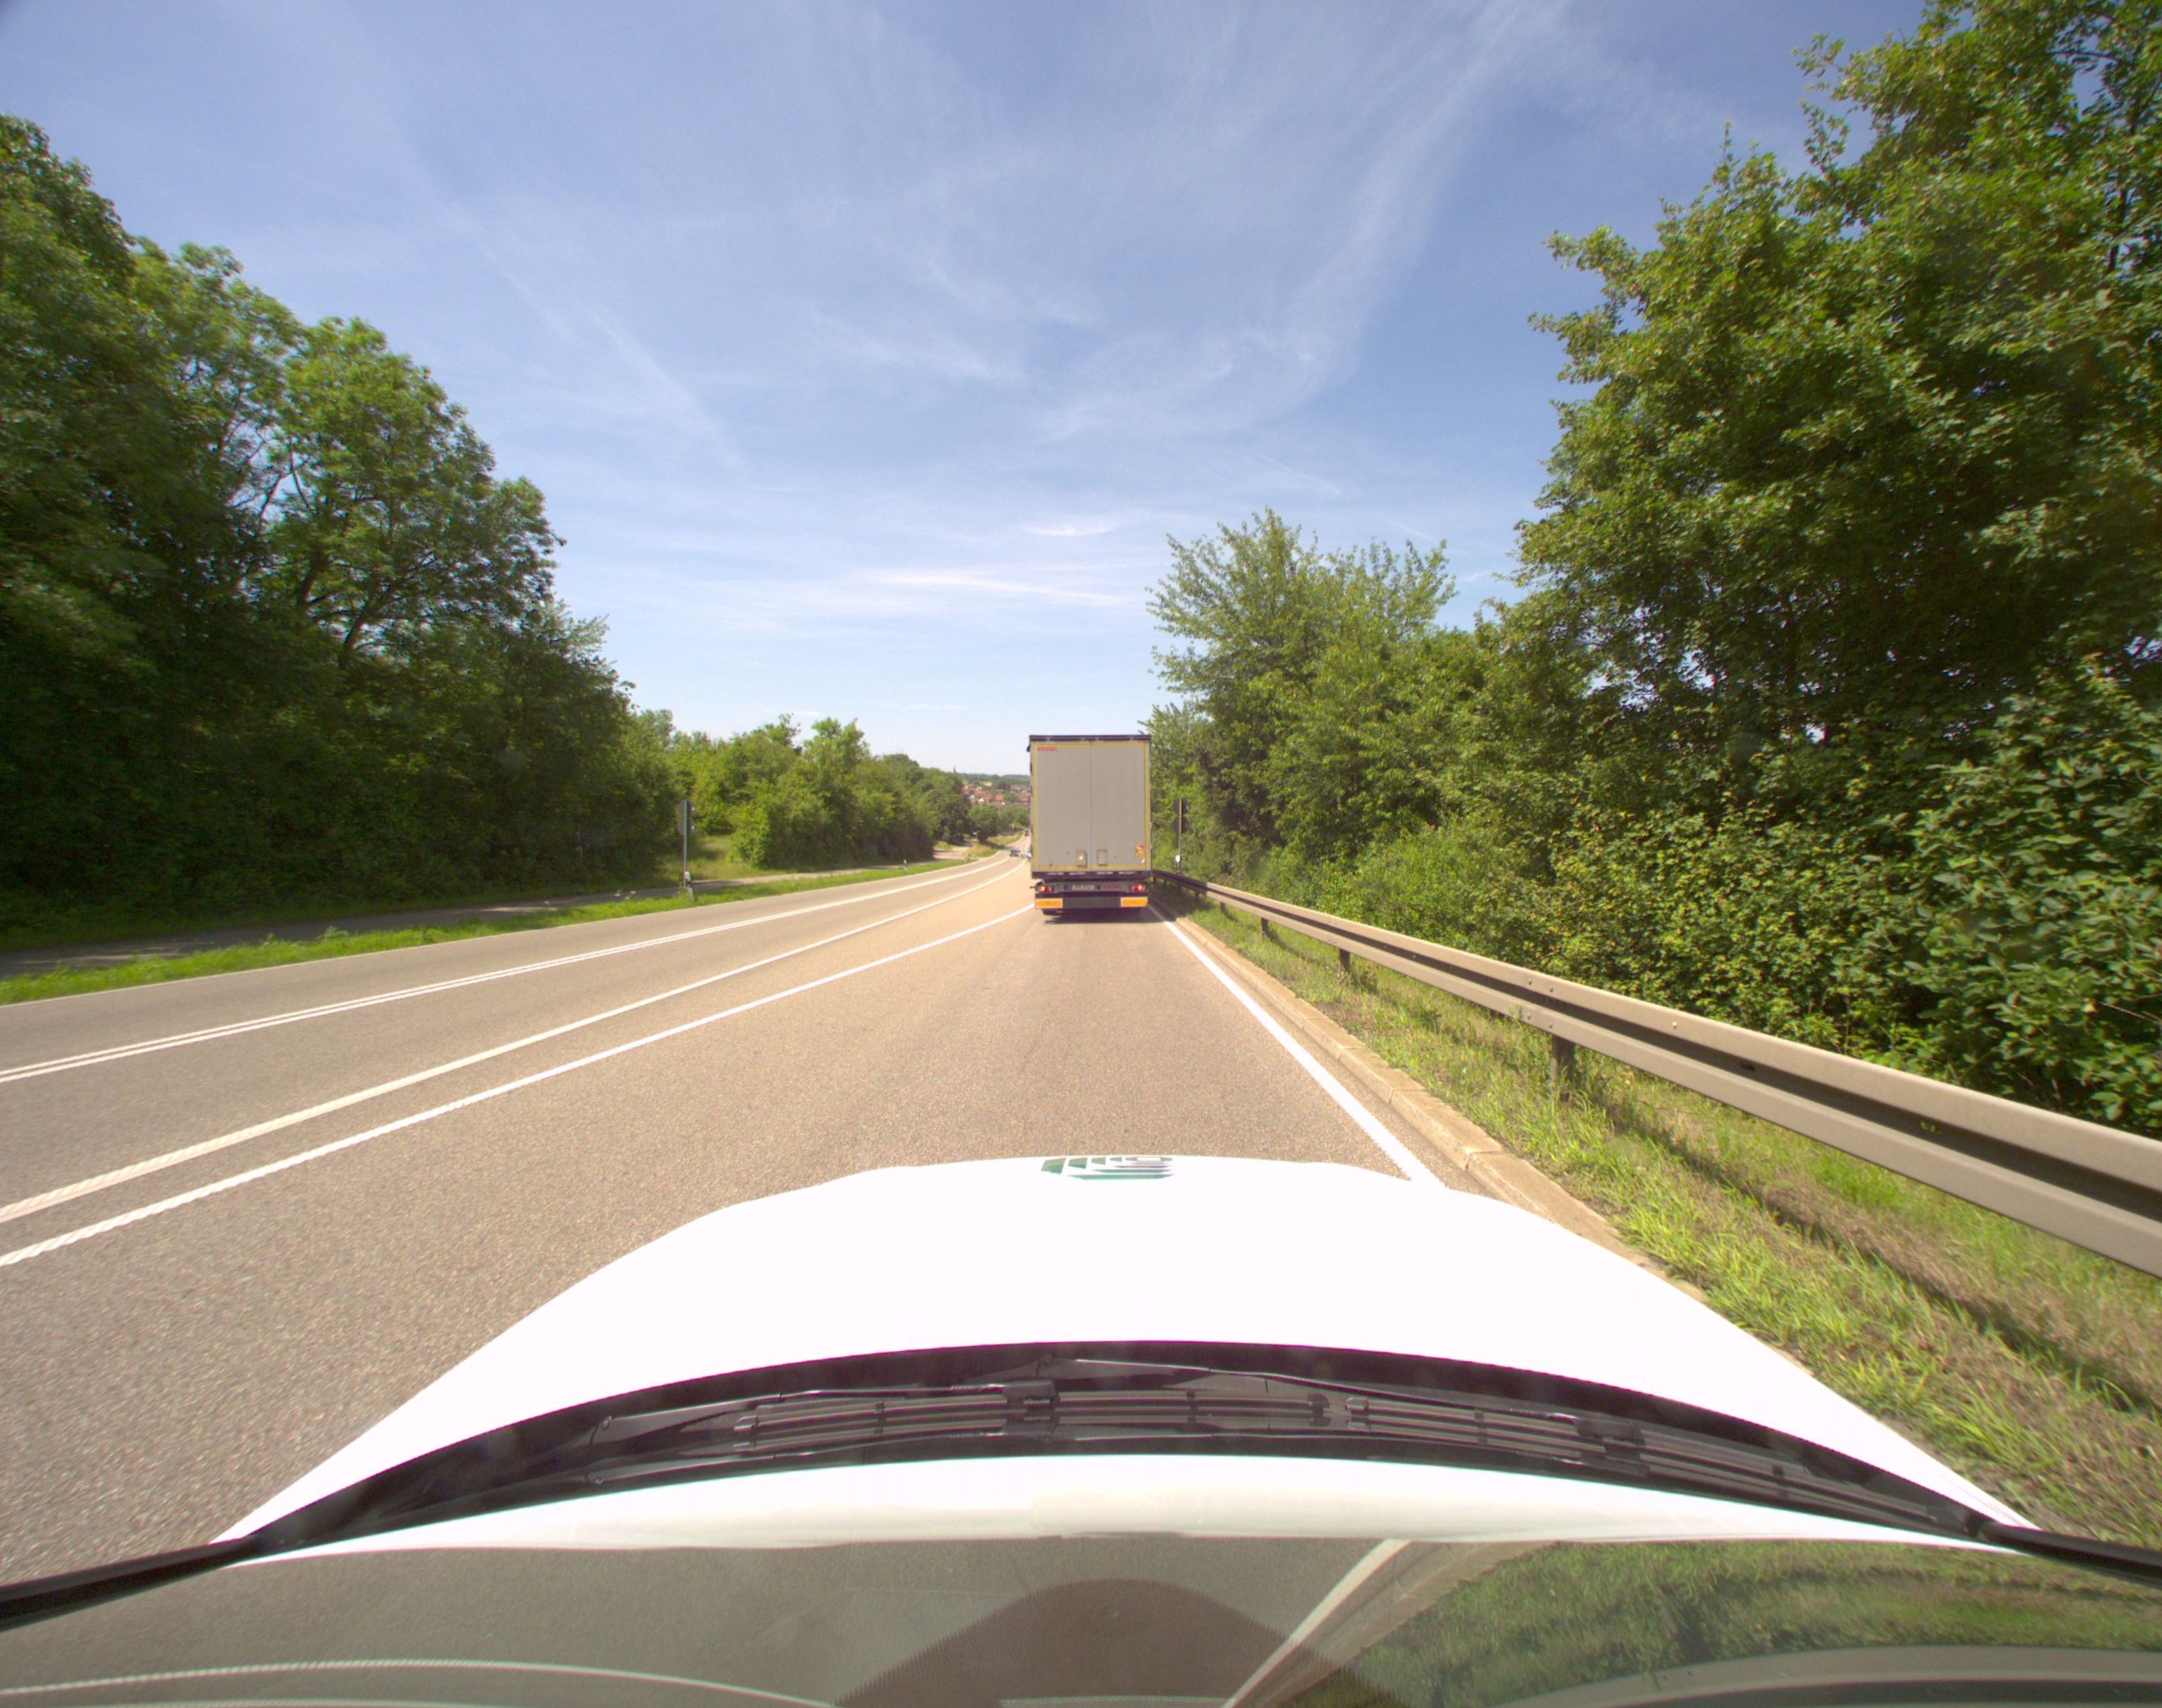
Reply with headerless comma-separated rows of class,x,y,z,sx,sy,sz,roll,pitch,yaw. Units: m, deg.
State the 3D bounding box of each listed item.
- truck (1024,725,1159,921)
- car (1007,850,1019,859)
truck,0.331,-0.669,22.869,2.747,4.029,11.926,-1,0,1
car,-13.720,0.184,163.471,1.808,1.794,3.824,0,-1,-13
